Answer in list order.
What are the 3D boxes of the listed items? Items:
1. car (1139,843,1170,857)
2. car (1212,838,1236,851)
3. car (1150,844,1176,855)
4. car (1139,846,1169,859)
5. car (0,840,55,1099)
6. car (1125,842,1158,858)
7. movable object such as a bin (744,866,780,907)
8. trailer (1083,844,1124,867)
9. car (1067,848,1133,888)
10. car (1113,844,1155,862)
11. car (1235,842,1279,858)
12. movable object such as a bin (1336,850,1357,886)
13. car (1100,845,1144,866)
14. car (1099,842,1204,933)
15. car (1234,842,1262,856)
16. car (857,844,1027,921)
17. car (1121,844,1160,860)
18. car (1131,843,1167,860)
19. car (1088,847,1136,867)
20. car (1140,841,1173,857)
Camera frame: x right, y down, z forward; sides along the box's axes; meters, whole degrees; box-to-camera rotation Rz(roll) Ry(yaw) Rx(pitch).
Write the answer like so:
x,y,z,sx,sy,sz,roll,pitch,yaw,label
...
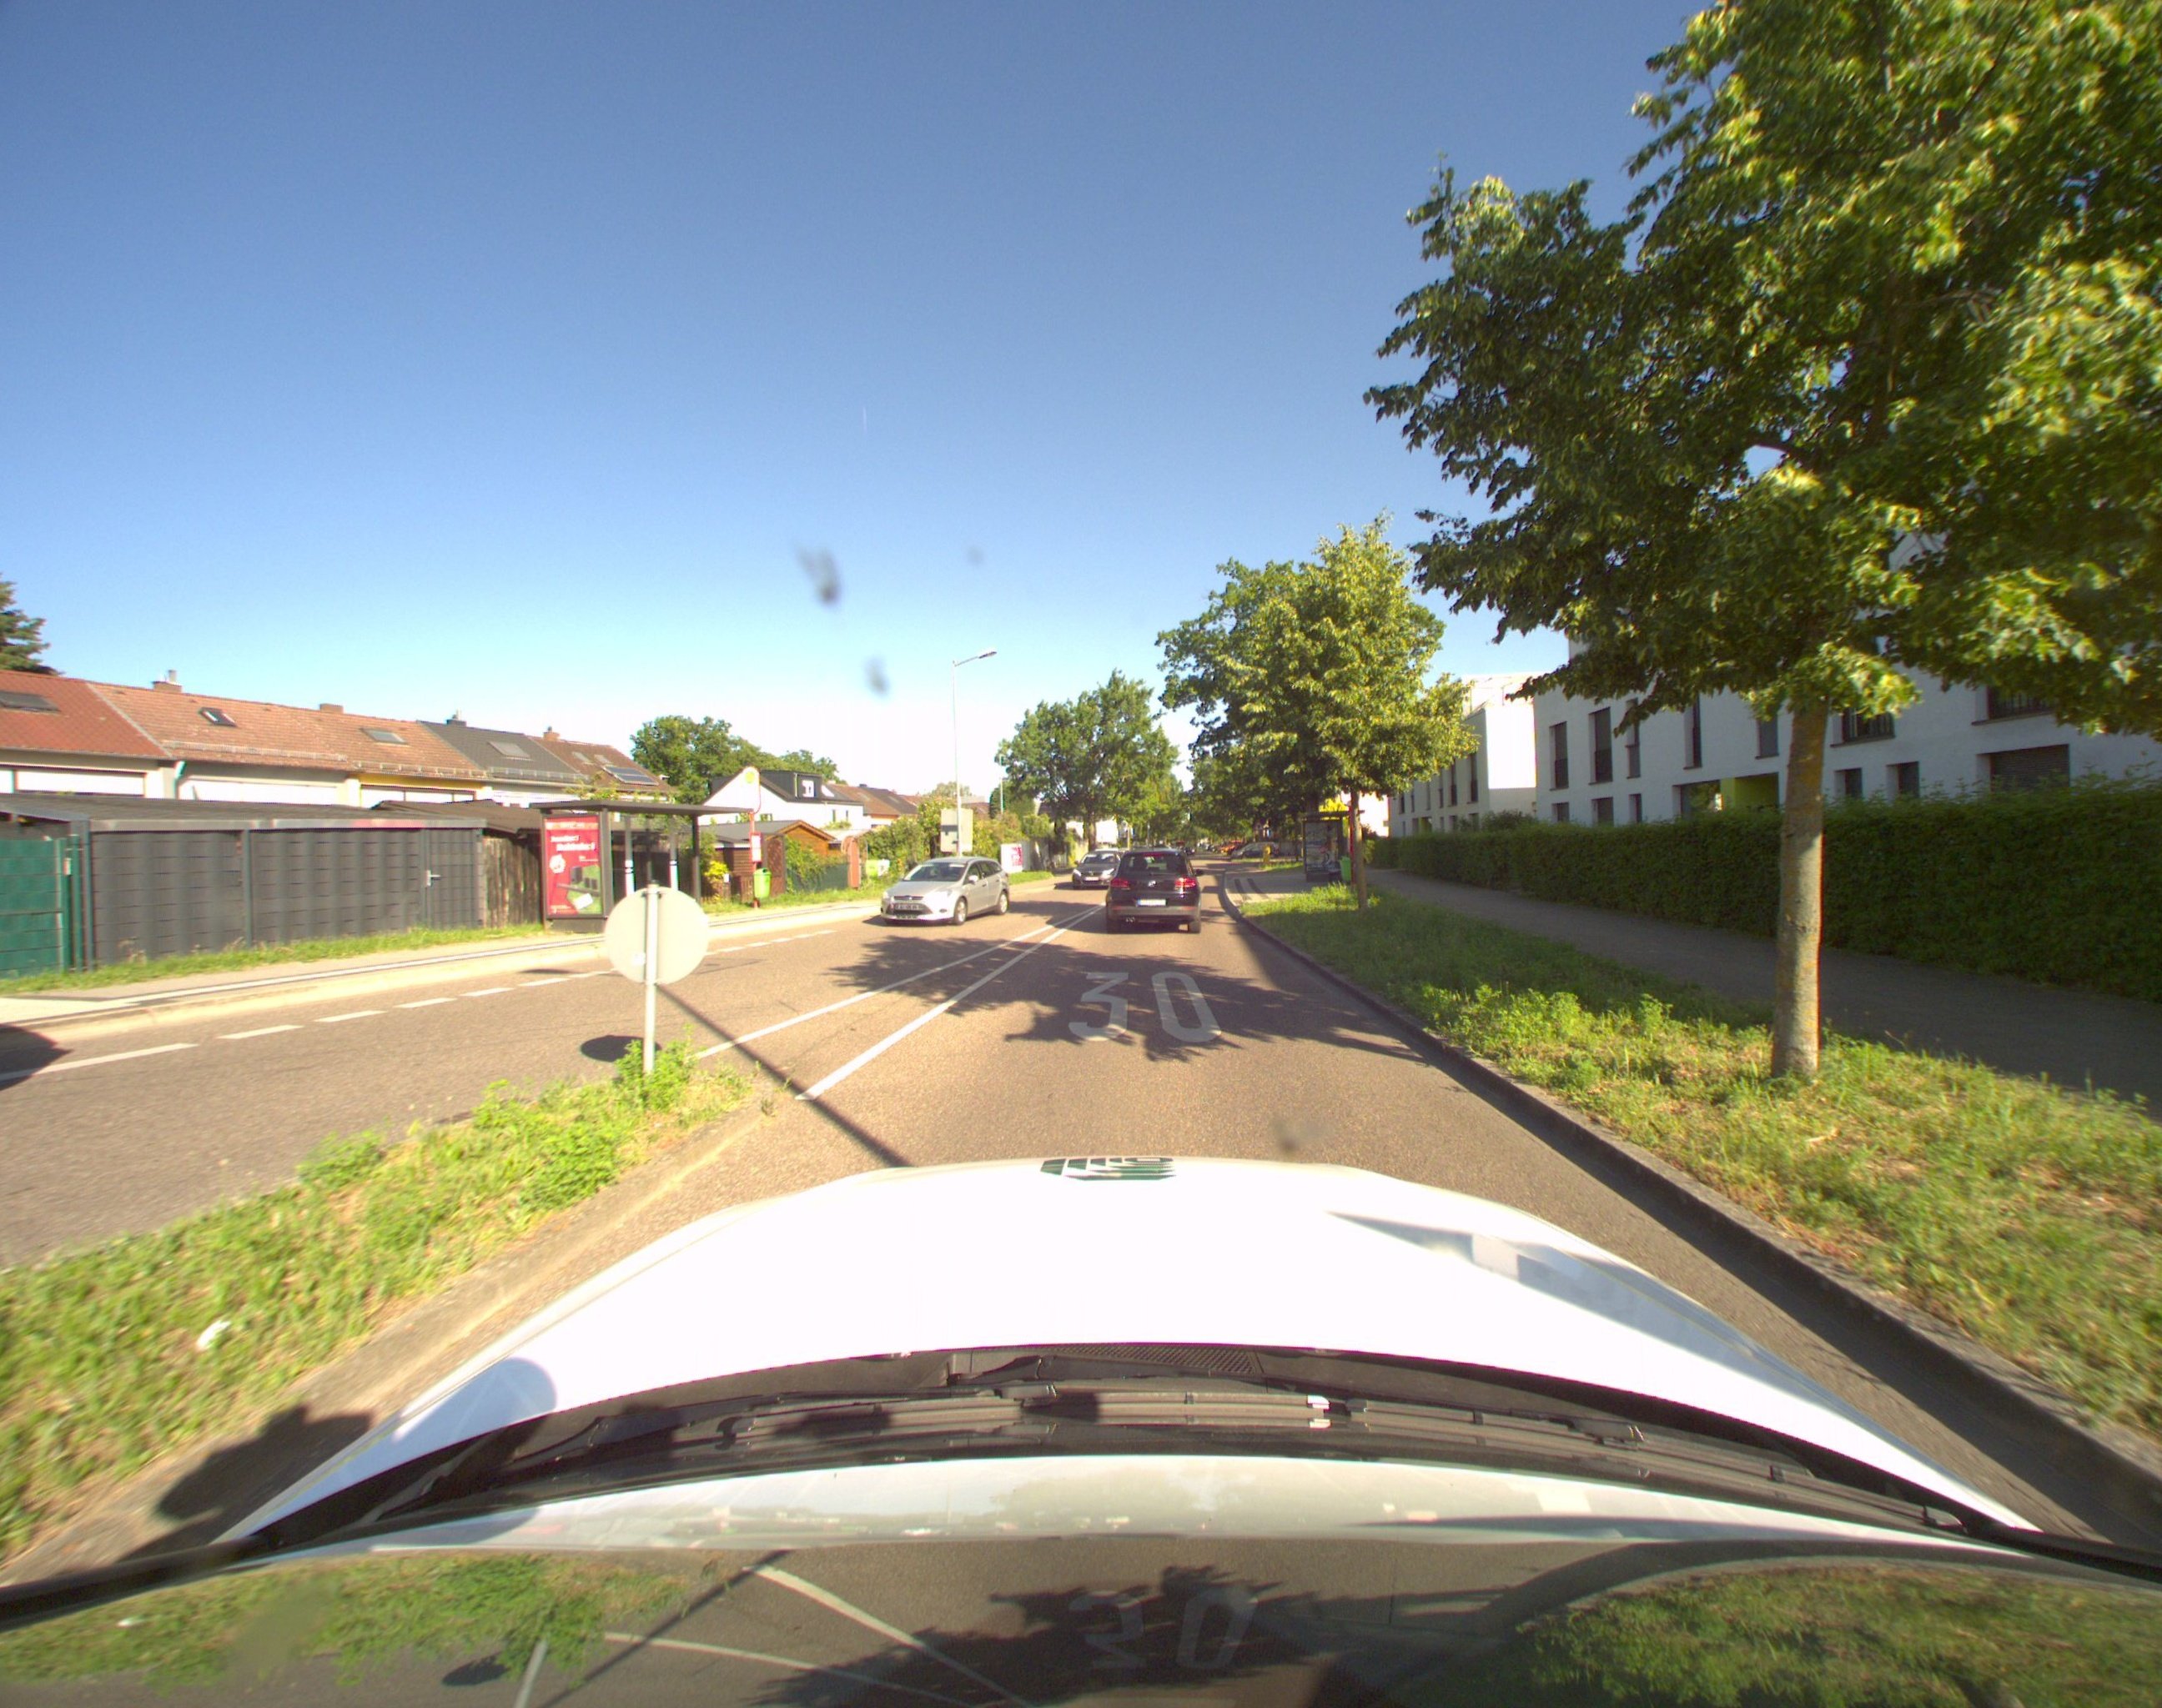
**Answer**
x,y,z,sx,sy,sz,roll,pitch,yaw,label
9.795,-0.572,108.822,3.964,1.720,1.825,-2,-1,8,car
24.649,-1.668,140.175,3.963,2.014,2.005,-2,-2,9,car
13.490,-0.787,134.078,3.972,1.684,1.924,-2,0,1,car
8.646,-0.188,96.316,3.354,1.490,1.646,-2,0,5,car
-8.031,0.754,3.398,1.926,1.588,4.196,-1,0,14,car
7.432,-0.461,99.412,3.968,1.836,1.640,-2,0,5,car
-7.999,0.798,20.434,0.588,0.967,0.560,2,1,13,movable object such as a bin
1.738,0.121,62.359,2.952,1.656,1.398,-2,0,5,trailer
0.834,0.510,32.579,1.981,1.443,4.463,0,1,10,car
5.359,-0.099,81.920,3.962,1.670,2.006,-2,0,10,car
16.863,-0.413,78.124,3.963,1.368,1.851,-2,0,9,car
7.723,0.413,23.696,0.367,1.016,0.600,-2,0,0,movable object such as a bin
3.400,0.096,67.203,3.534,1.613,1.854,-2,0,3,car
1.606,0.596,17.231,1.919,1.654,4.524,0,1,8,car
18.930,-0.537,92.364,3.031,1.507,1.248,-2,0,3,car
-3.102,0.585,19.295,2.193,1.591,4.553,-1,0,15,car
6.380,-0.212,87.179,3.962,1.640,2.006,-2,0,10,car
7.641,-0.294,91.812,3.967,1.731,2.003,-2,0,5,car
2.477,0.228,64.631,3.528,1.477,1.813,-2,0,9,car
10.337,-0.672,111.245,4.369,1.939,1.581,-2,-1,5,car
